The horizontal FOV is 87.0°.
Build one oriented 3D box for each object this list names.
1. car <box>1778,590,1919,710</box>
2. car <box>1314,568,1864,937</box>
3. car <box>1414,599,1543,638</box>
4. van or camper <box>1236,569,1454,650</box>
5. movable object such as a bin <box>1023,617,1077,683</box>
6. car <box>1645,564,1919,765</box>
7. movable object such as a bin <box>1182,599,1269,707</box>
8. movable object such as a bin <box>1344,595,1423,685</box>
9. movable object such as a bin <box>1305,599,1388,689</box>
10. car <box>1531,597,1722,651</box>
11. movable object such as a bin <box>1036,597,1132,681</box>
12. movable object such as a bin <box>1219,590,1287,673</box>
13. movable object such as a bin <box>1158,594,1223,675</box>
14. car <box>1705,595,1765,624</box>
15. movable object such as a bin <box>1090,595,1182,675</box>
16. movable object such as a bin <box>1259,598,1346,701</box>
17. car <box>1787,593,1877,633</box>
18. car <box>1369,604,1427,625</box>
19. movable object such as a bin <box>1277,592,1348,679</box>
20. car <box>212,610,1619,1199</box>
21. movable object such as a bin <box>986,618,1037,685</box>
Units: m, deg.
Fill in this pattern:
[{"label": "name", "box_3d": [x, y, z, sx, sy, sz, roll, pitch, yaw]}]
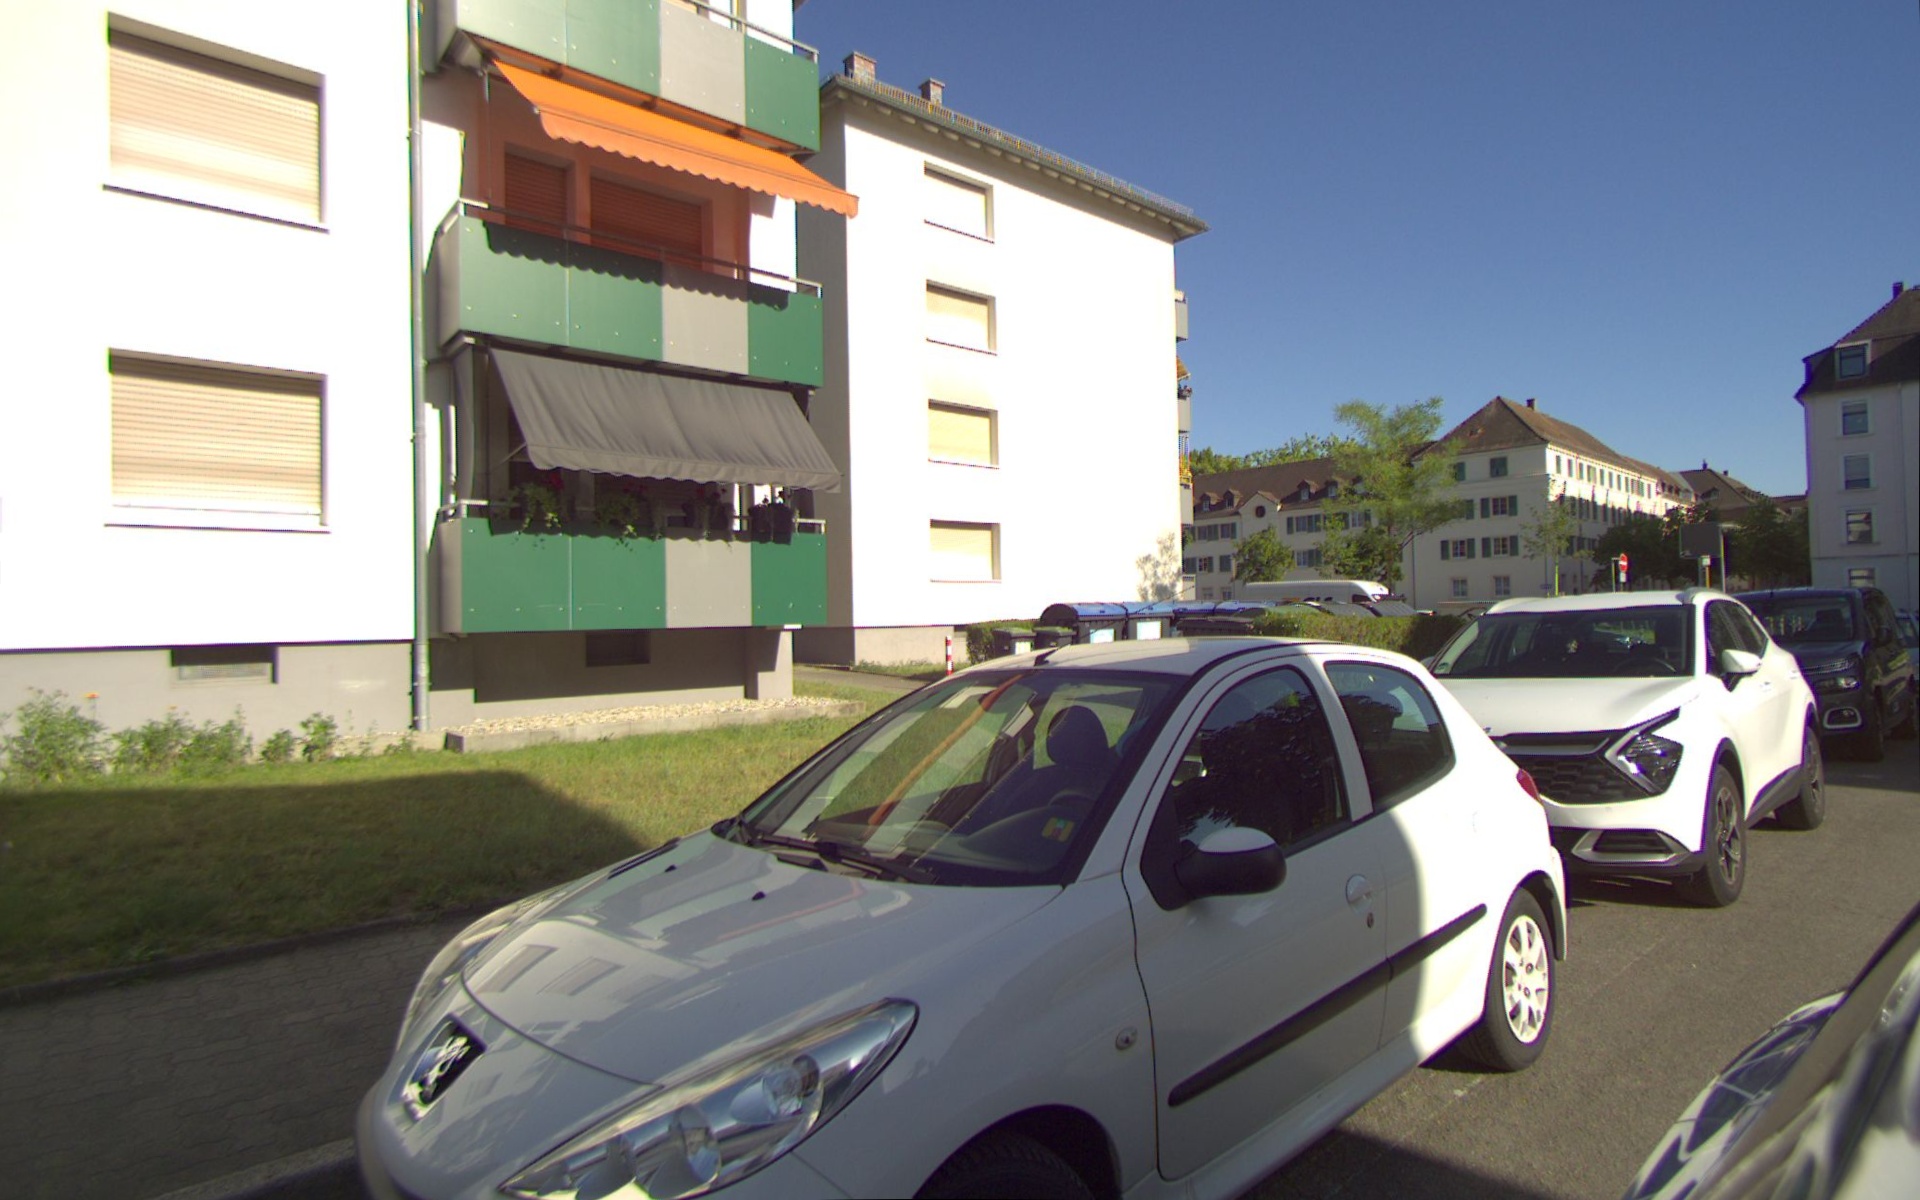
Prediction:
[{"label": "car", "box_3d": [13.568, 0.681, 14.915, 3.885, 1.557, 1.725, 0, -3, -43]}, {"label": "car", "box_3d": [4.329, 0.691, 6.619, 4.502, 1.613, 1.803, 0, -2, -42]}, {"label": "car", "box_3d": [19.068, 0.645, 37.354, 1.494, 1.366, 3.996, 0, 0, -38]}, {"label": "van or camper", "box_3d": [13.167, 0.307, 35.178, 2.137, 2.532, 6.979, 0, 0, -38]}, {"label": "movable object such as a bin", "box_3d": [1.555, 0.860, 17.554, 0.570, 1.066, 0.717, 0, 2, -43]}, {"label": "car", "box_3d": [9.411, 0.643, 11.280, 4.180, 1.824, 1.852, 0, -4, -42]}, {"label": "movable object such as a bin", "box_3d": [3.776, 0.720, 14.385, 0.907, 1.466, 0.864, 0, -1, -45]}, {"label": "movable object such as a bin", "box_3d": [6.927, 0.624, 16.561, 0.852, 1.416, 0.920, 0, -1, -42]}, {"label": "movable object such as a bin", "box_3d": [6.017, 0.656, 15.771, 0.852, 1.342, 0.920, 0, -1, -42]}, {"label": "car", "box_3d": [18.024, 0.603, 27.496, 1.769, 1.366, 3.996, 0, 0, -38]}, {"label": "movable object such as a bin", "box_3d": [2.263, 0.673, 18.463, 1.257, 1.466, 1.237, 0, 0, -43]}, {"label": "movable object such as a bin", "box_3d": [5.356, 0.561, 18.508, 0.907, 1.466, 0.864, 0, -1, -45]}, {"label": "movable object such as a bin", "box_3d": [4.490, 0.652, 19.728, 0.906, 1.539, 0.865, 0, -1, -42]}, {"label": "car", "box_3d": [39.015, 0.441, 51.050, 1.656, 1.394, 3.767, 0, 0, 26]}, {"label": "movable object such as a bin", "box_3d": [3.354, 0.633, 19.316, 1.257, 1.466, 1.237, 0, 0, -43]}, {"label": "movable object such as a bin", "box_3d": [5.072, 0.703, 14.996, 0.852, 1.466, 0.920, 0, -1, -42]}, {"label": "car", "box_3d": [33.202, 0.470, 38.636, 1.656, 1.459, 3.767, 0, 0, 26]}, {"label": "car", "box_3d": [34.920, 1.134, 80.777, 1.619, 1.661, 3.993, 0, 0, -41]}, {"label": "movable object such as a bin", "box_3d": [6.182, 0.600, 17.755, 0.907, 1.466, 0.864, 0, -1, -45]}, {"label": "car", "box_3d": [0.333, 0.812, 3.033, 4.027, 1.437, 1.692, 0, -3, -42]}, {"label": "movable object such as a bin", "box_3d": [0.885, 0.863, 17.262, 0.570, 1.066, 0.628, 0, 2, -43]}]
